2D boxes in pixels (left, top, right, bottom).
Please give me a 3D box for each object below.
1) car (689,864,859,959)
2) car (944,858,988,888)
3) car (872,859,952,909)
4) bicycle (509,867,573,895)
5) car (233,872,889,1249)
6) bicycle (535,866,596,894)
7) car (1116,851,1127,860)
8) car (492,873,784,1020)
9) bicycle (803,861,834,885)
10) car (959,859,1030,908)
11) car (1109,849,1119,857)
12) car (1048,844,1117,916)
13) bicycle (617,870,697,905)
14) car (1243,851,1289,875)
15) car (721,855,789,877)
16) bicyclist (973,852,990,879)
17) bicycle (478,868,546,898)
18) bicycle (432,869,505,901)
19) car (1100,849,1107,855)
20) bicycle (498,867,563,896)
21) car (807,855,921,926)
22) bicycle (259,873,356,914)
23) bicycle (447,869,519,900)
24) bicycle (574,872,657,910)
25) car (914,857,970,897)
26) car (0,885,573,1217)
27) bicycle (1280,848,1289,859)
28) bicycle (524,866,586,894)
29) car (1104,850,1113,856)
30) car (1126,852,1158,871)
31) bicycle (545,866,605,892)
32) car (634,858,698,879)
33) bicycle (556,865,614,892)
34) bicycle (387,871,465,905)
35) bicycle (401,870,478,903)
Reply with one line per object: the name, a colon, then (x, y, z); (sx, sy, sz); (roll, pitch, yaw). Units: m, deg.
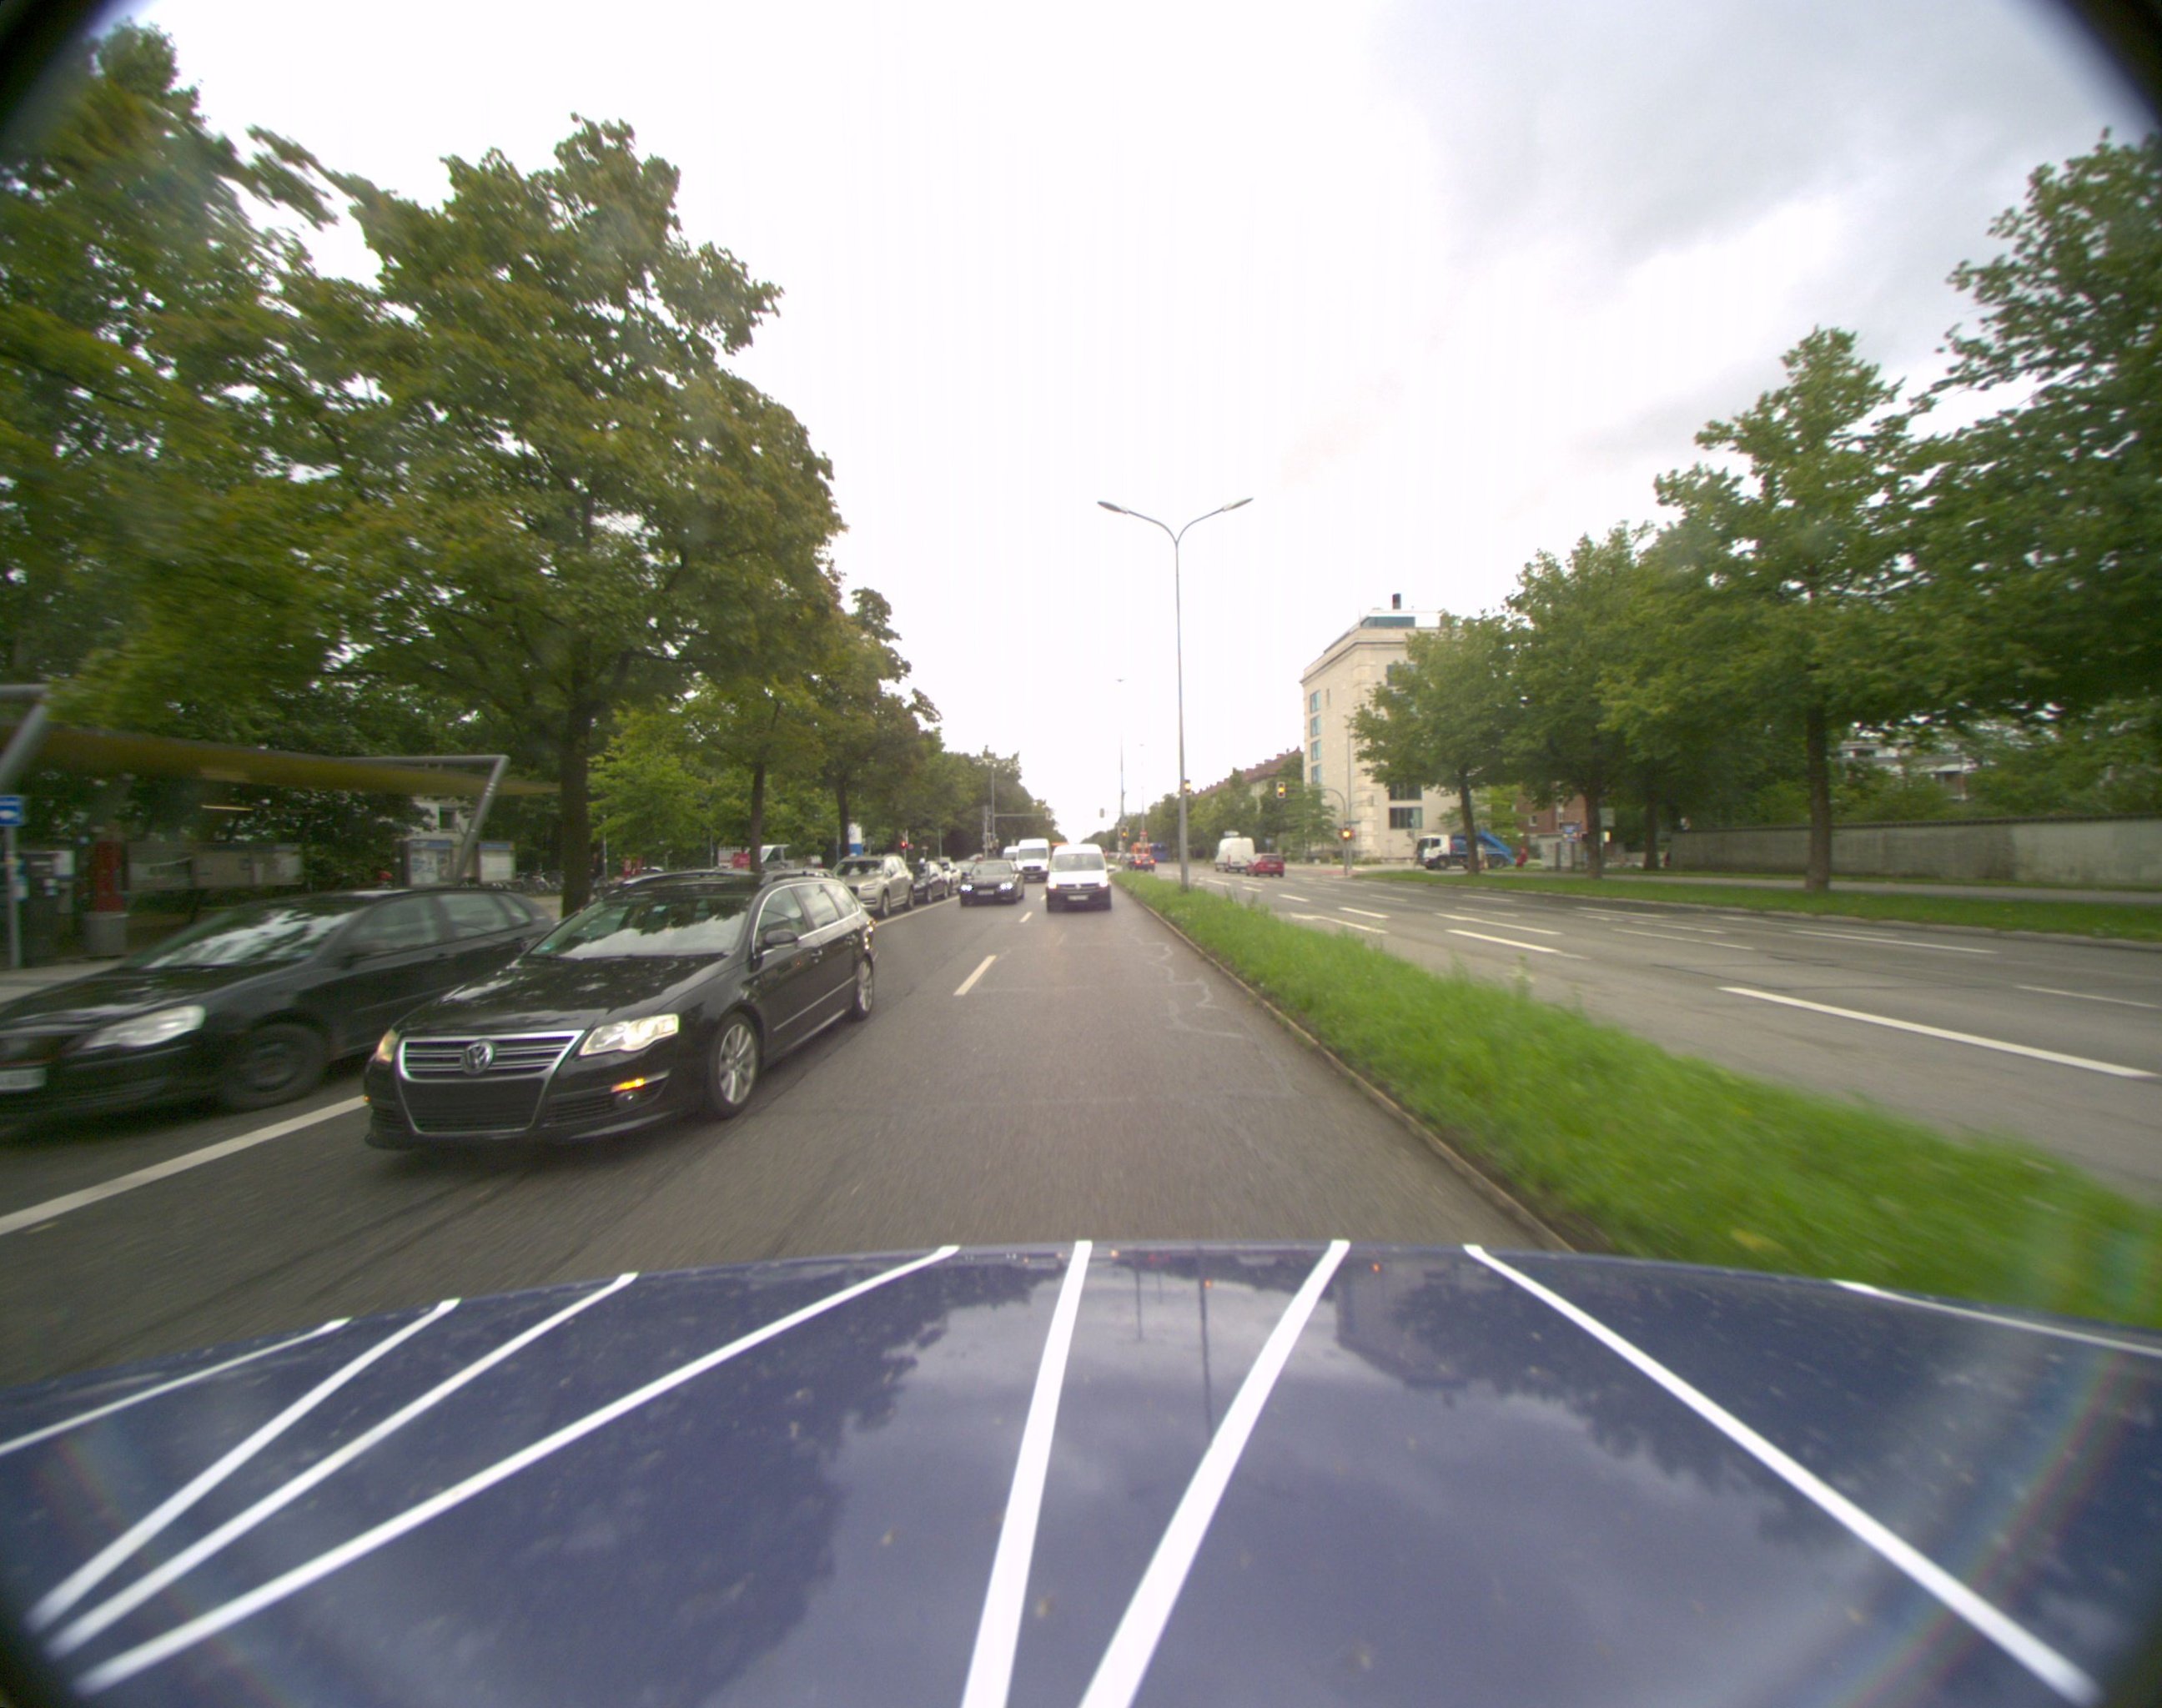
car: (-6.188, 1.065, 15.940); (1.706, 1.499, 4.503); (-4, 1, -1)
car: (-6.118, 0.975, 40.962); (1.715, 1.352, 4.620); (-2, 1, -2)
car: (-5.927, 1.013, 27.168); (1.752, 1.538, 4.642); (-2, 0, 0)
bicycle: (-23.010, 1.145, 32.399); (2.344, 1.151, 0.529); (1, 1, 0)
car: (-2.891, 0.976, 5.722); (1.752, 1.466, 4.670); (-2, 1, -1)
bicycle: (-22.831, 1.148, 33.675); (2.344, 1.151, 0.529); (1, 1, 0)
car: (7.491, 0.296, 140.860); (1.732, 1.478, 4.742); (-1, 1, 0)
car: (-6.011, 1.135, 11.053); (1.725, 1.525, 4.398); (-1, 1, -1)
bicycle: (-14.269, 1.024, 41.387); (0.863, 1.191, 2.000); (0, 1, 4)
car: (-2.883, 0.955, 26.183); (1.819, 1.421, 4.671); (-2, 0, 1)
car: (6.800, -0.276, 155.585); (1.867, 1.533, 4.749); (2, 1, 0)
car: (-0.021, 0.661, 22.072); (1.752, 1.809, 4.670); (-1, 1, -1)
bicycle: (-14.663, 1.152, 26.315); (2.346, 1.151, 0.529); (1, 1, -8)
car: (11.684, 0.560, 48.322); (1.747, 1.443, 4.657); (1, 0, 0)
car: (-25.001, 0.903, 58.387); (4.312, 1.489, 1.887); (-1, 1, -3)
bicyclist: (-6.526, 0.765, 49.958); (0.829, 1.754, 0.744); (-2, 1, -35)
bicycle: (-22.918, 1.152, 30.618); (2.344, 1.151, 0.529); (1, 1, 0)
bicycle: (-23.188, 1.175, 28.788); (2.344, 1.151, 0.529); (1, 1, 0)
car: (6.429, -0.575, 216.075); (1.702, 1.561, 4.290); (-1, 0, -2)
bicycle: (-22.939, 1.147, 31.675); (2.344, 1.151, 0.529); (1, 1, 0)
car: (-6.006, 0.920, 21.684); (1.752, 1.714, 4.906); (-2, 0, 1)
bicycle: (-24.088, 1.203, 23.731); (0.528, 1.151, 2.346); (1, 0, 3)
bicycle: (-23.120, 1.169, 29.381); (2.344, 1.151, 0.529); (1, 1, 0)
bicycle: (-14.918, 1.175, 24.380); (2.344, 1.151, 0.529); (1, 1, 0)
car: (-6.060, 0.953, 33.585); (1.717, 1.538, 4.381); (-1, 1, -1)
car: (-6.216, 1.137, 5.992); (1.546, 1.525, 4.090); (-3, 1, 1)
bicycle: (23.077, -0.080, 86.258); (0.546, 1.174, 1.826); (-1, 1, -1)
bicycle: (-22.888, 1.136, 33.089); (2.344, 1.151, 0.529); (1, 1, 0)
car: (6.430, -0.174, 179.607); (1.931, 1.453, 4.897); (1, 0, -1)
car: (4.936, 0.582, 61.879); (1.645, 1.478, 3.777); (-1, 1, -11)
bicycle: (-22.820, 1.126, 34.266); (2.344, 1.151, 0.529); (1, 1, 0)
car: (-31.861, 1.123, 58.351); (3.947, 1.445, 1.627); (-1, 1, -2)
bicycle: (-22.745, 1.119, 34.859); (2.344, 1.151, 0.529); (1, 1, 0)
bicycle: (-23.391, 1.194, 27.149); (2.344, 1.151, 0.529); (1, 1, 0)
bicycle: (-23.441, 1.193, 27.785); (2.344, 1.151, 0.529); (1, 1, 0)
